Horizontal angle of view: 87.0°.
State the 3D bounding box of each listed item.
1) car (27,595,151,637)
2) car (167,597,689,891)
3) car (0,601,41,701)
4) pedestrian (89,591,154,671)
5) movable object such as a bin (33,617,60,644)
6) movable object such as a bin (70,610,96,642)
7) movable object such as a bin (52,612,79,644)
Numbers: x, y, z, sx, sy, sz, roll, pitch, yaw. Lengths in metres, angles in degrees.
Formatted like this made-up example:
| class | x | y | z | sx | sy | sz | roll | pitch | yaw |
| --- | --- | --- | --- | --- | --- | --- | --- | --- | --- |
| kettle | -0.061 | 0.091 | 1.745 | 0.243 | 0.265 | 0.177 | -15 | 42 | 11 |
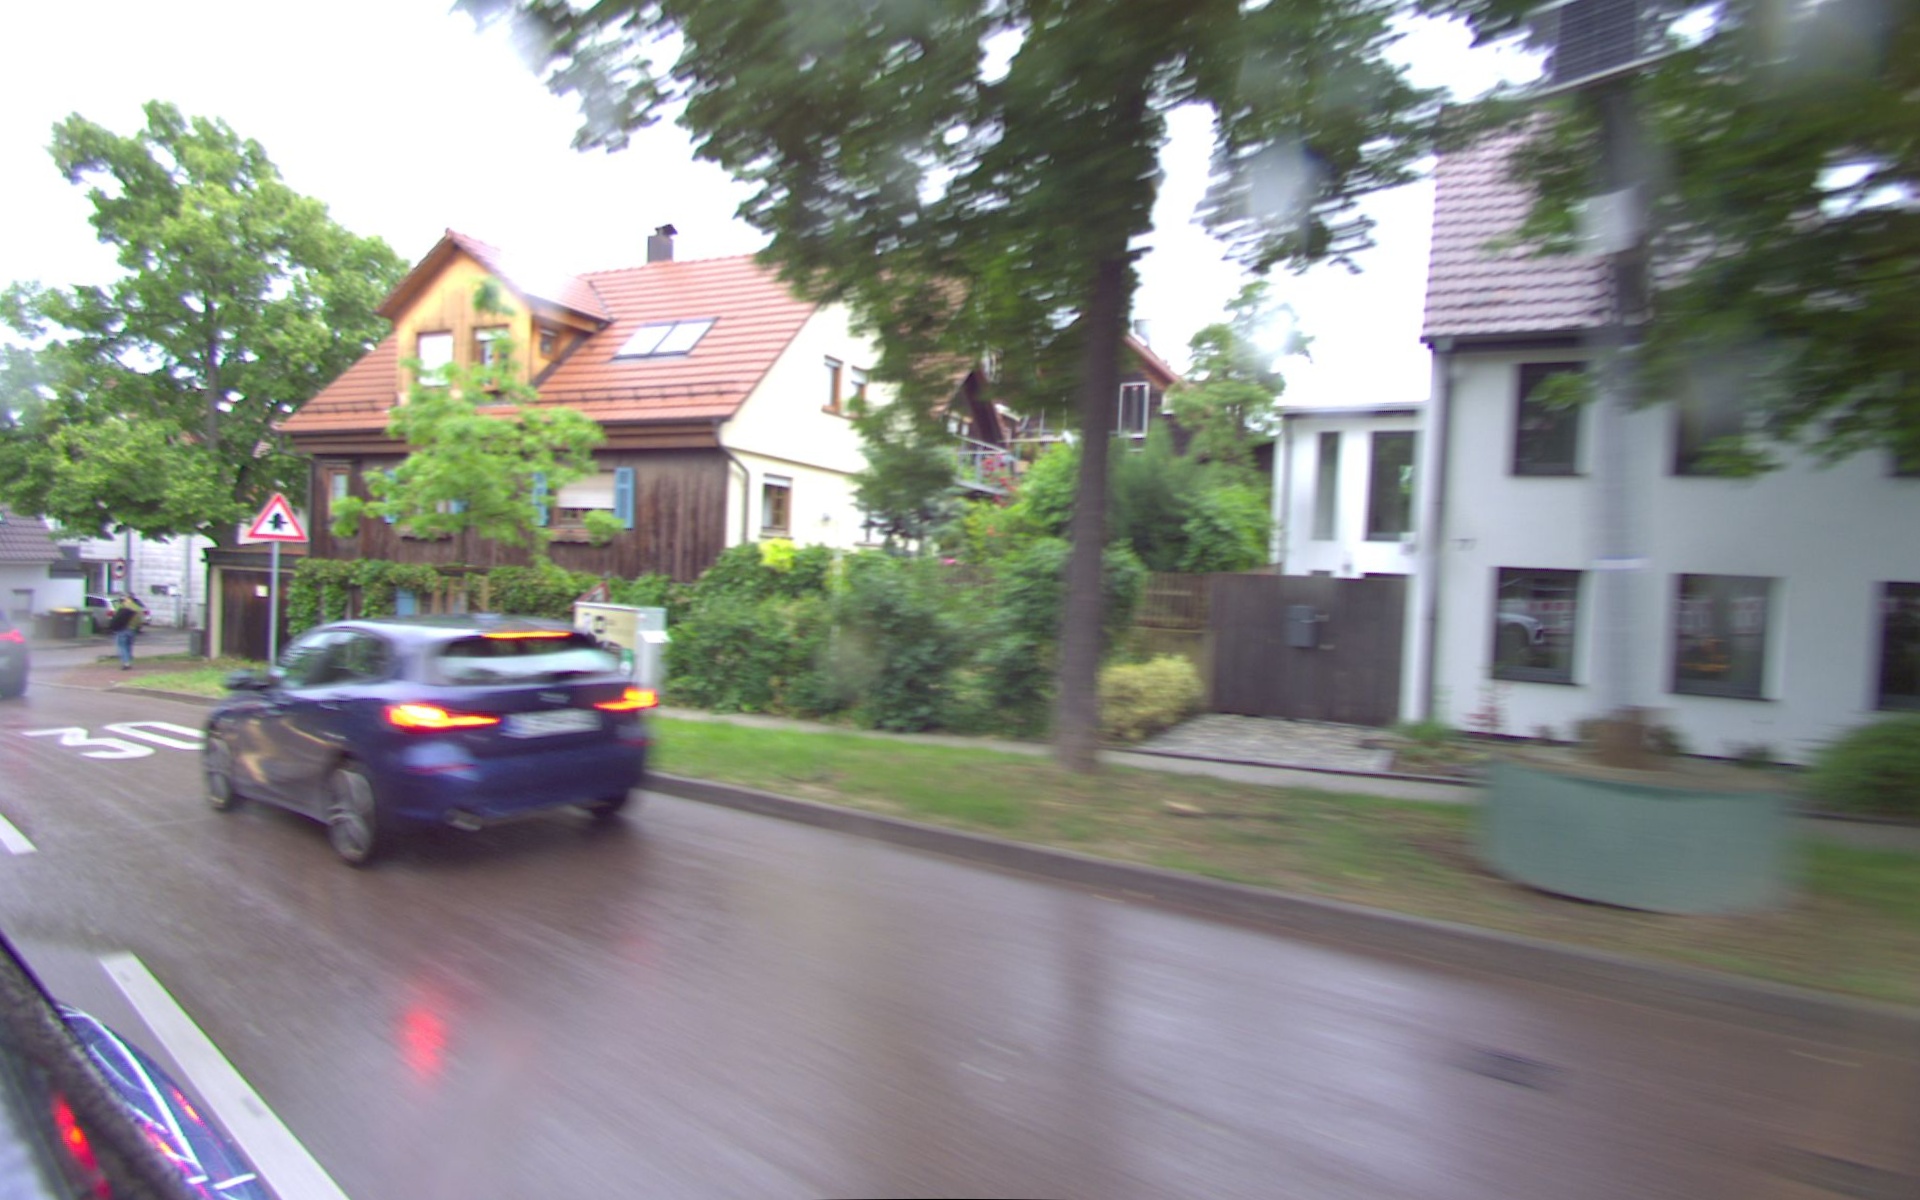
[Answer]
| class | x | y | z | sx | sy | sz | roll | pitch | yaw |
| --- | --- | --- | --- | --- | --- | --- | --- | --- | --- |
| car | -33.716 | 0.612 | 39.185 | 3.962 | 1.544 | 1.719 | -1 | 0 | 15 |
| car | -3.854 | 0.749 | 7.037 | 4.059 | 1.451 | 1.748 | -1 | 0 | 39 |
| car | -17.708 | 0.871 | 17.483 | 4.130 | 1.628 | 1.871 | -1 | 0 | 35 |
| pedestrian | -19.882 | 0.722 | 24.006 | 0.892 | 1.844 | 0.960 | -1 | 0 | 33 |
| movable object such as a bin | -32.433 | 1.085 | 35.922 | 0.496 | 0.947 | 0.515 | -1 | 0 | 16 |
| movable object such as a bin | -32.047 | 0.946 | 36.997 | 0.513 | 1.132 | 0.527 | -1 | 0 | 16 |
| movable object such as a bin | -32.225 | 0.988 | 36.451 | 0.513 | 1.132 | 0.543 | -1 | 0 | 16 |
